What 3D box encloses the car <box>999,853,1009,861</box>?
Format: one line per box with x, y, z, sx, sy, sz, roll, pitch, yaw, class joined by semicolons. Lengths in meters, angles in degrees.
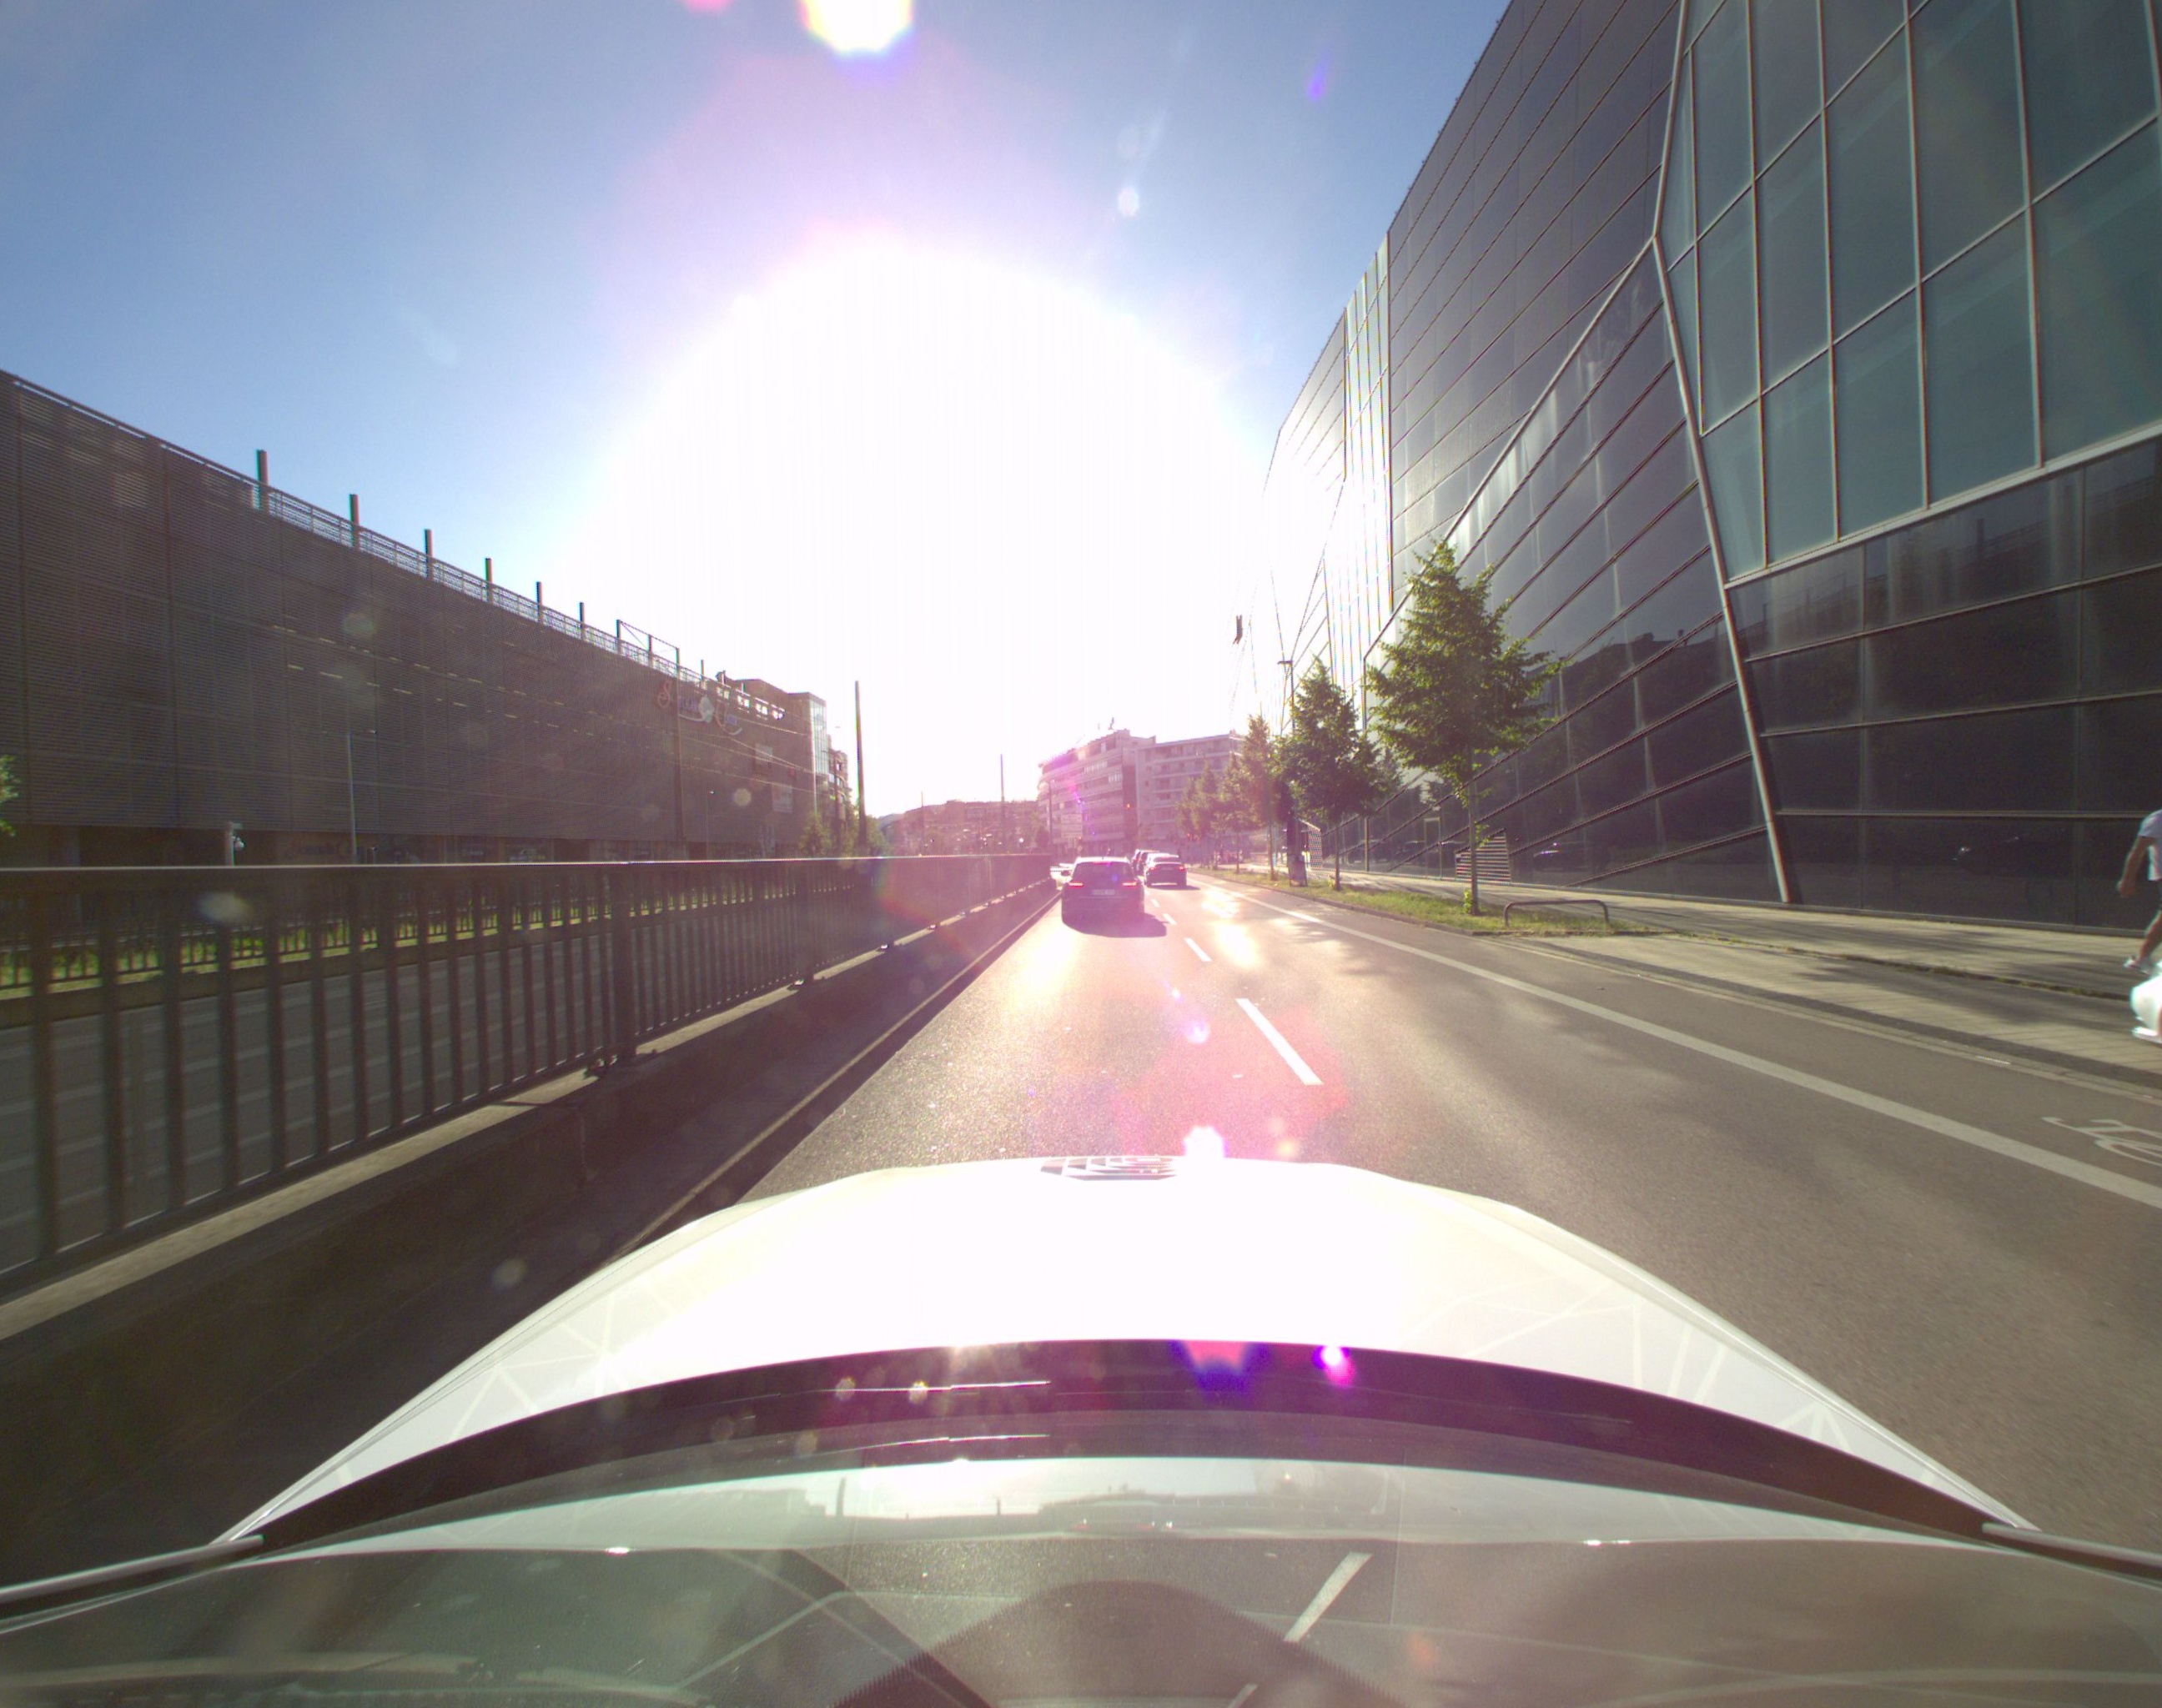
-18.258;0.777;193.767;1.987;1.750;3.999;-4;0;-1;car

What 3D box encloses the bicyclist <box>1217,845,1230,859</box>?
12.996;-0.200;74.225;1.027;1.268;0.728;-3;0;6;bicyclist

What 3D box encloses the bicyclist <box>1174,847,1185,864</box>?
8.396;0.107;69.501;0.723;1.418;0.890;-3;0;-5;bicyclist

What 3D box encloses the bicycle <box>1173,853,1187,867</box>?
8.404;0.521;69.502;0.723;1.184;2.090;-3;0;-5;bicycle

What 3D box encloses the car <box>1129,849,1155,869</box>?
4.815;0.358;64.365;1.985;1.465;4.004;-1;1;4;car

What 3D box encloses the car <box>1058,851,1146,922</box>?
0.512;0.693;19.614;1.806;1.427;4.691;-2;0;1;car

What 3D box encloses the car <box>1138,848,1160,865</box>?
6.296;0.218;75.664;1.985;1.465;4.004;-1;1;4;car

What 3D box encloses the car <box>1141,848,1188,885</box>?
3.681;0.504;36.312;1.845;1.546;4.003;-1;0;3;car

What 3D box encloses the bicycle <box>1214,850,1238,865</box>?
13.238;0.328;74.215;2.076;1.184;0.728;-4;0;6;bicycle

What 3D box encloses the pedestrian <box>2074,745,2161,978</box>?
9.749;0.051;7.263;0.833;2.013;0.690;-3;0;2;pedestrian

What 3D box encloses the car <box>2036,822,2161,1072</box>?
7.377;0.543;3.091;1.846;1.481;4.855;-4;0;1;car

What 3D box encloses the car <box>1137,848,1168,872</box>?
4.818;0.374;55.056;1.985;1.465;4.004;-1;1;4;car
